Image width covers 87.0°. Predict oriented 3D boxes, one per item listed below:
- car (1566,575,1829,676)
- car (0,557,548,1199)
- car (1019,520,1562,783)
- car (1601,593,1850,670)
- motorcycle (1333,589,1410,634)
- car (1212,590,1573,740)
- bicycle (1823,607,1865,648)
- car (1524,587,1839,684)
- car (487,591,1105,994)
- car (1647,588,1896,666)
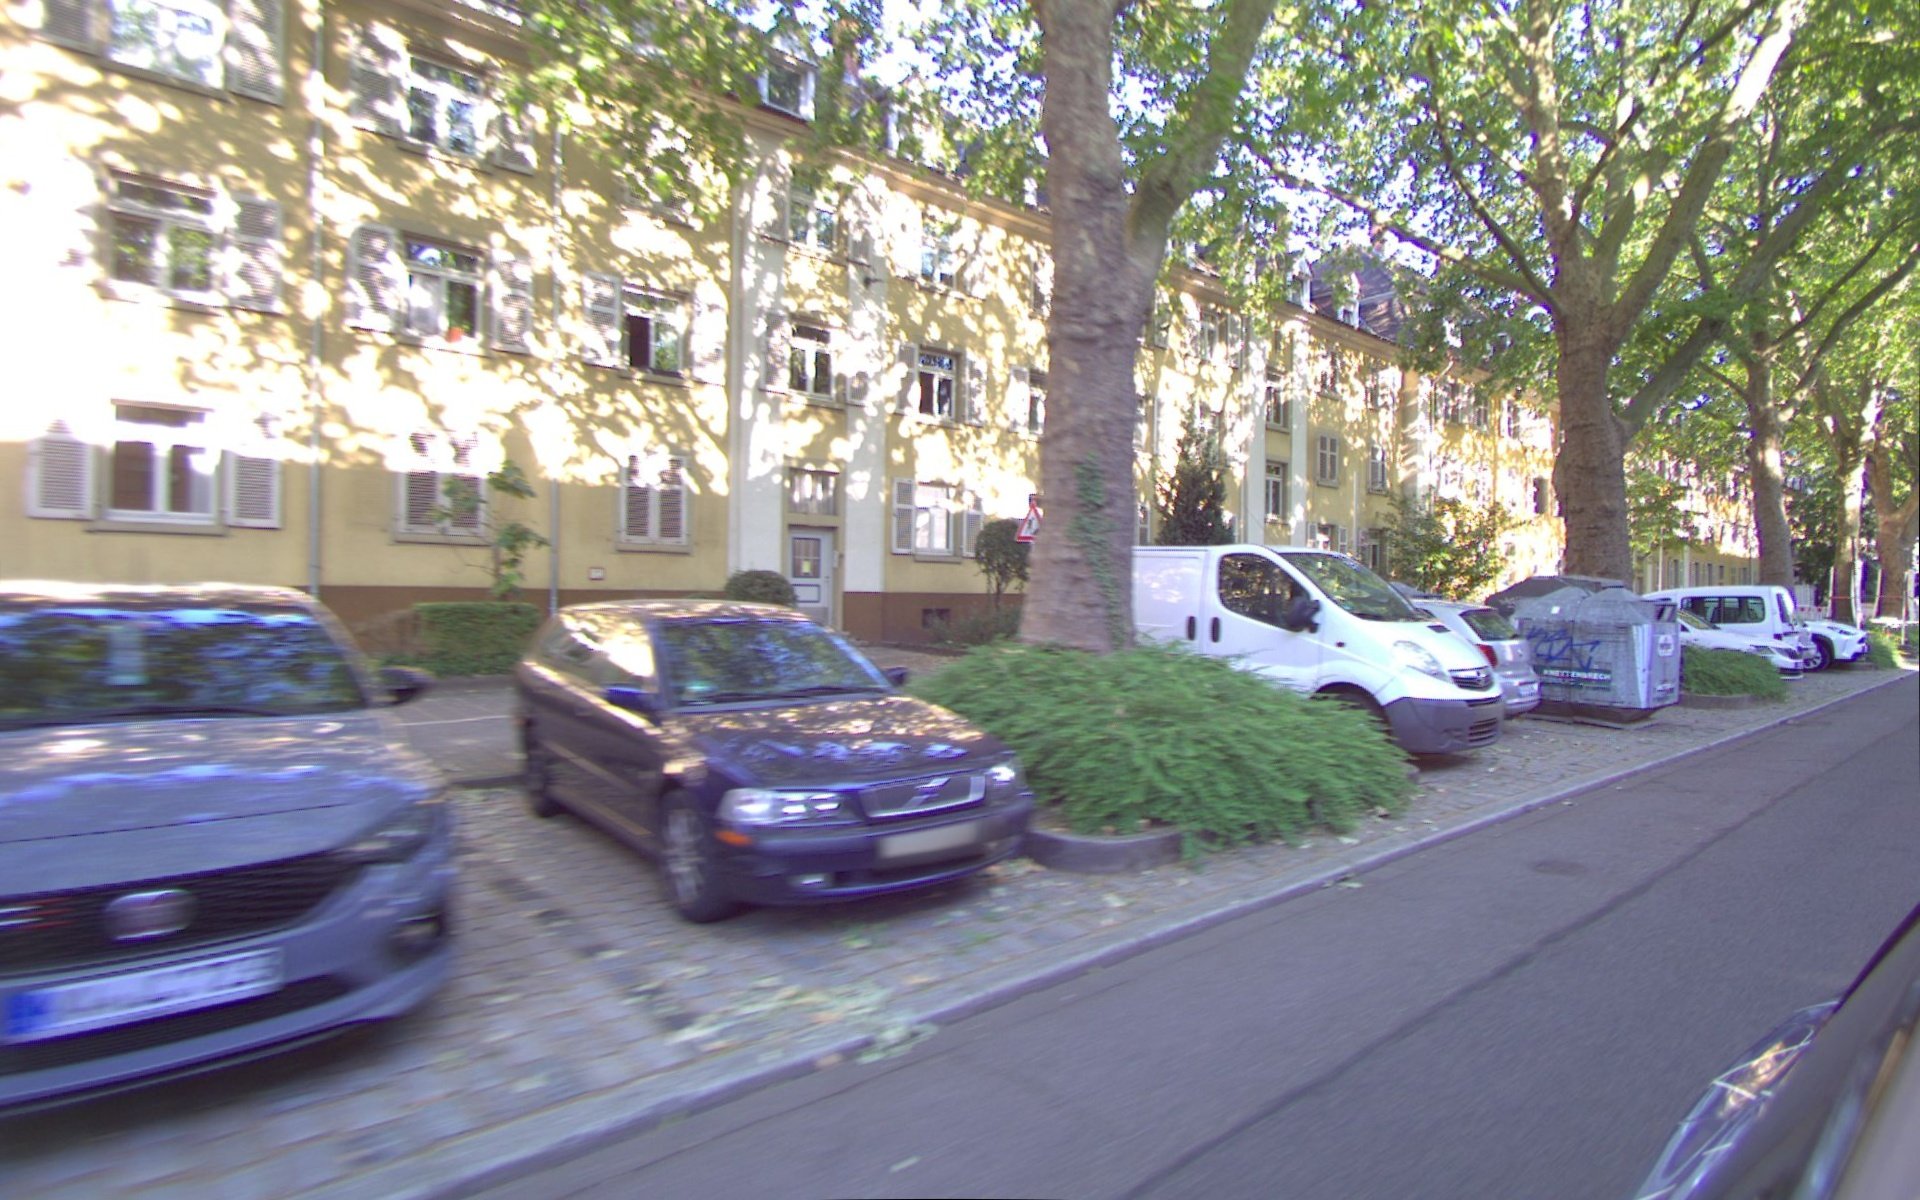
[{"bbox_3d":[14.523,0.430,20.118,1.881,1.794,3.856,0,1,-36],"label":"car"},{"bbox_3d":[-3.330,0.628,4.104,1.864,1.502,4.255,0,1,-40],"label":"car"},{"bbox_3d":[3.018,0.359,10.151,2.030,1.988,4.842,0,1,-42],"label":"car"},{"bbox_3d":[16.016,0.585,21.334,1.817,1.451,3.856,0,1,-36],"label":"car"},{"bbox_3d":[12.114,0.311,29.836,0.701,1.266,1.993,0,0,-41],"label":"motorcycle"},{"bbox_3d":[4.926,0.620,11.832,1.644,1.465,3.530,0,1,-43],"label":"car"},{"bbox_3d":[24.515,0.755,28.047,1.777,1.084,0.636,0,0,-41],"label":"bicycle"},{"bbox_3d":[13.043,0.560,18.571,1.767,1.561,4.384,1,0,-36],"label":"car"},{"bbox_3d":[-1.340,0.663,5.900,1.770,1.398,4.410,0,1,-36],"label":"car"},{"bbox_3d":[17.966,0.523,22.552,1.883,1.540,4.094,-1,1,-41],"label":"car"}]
